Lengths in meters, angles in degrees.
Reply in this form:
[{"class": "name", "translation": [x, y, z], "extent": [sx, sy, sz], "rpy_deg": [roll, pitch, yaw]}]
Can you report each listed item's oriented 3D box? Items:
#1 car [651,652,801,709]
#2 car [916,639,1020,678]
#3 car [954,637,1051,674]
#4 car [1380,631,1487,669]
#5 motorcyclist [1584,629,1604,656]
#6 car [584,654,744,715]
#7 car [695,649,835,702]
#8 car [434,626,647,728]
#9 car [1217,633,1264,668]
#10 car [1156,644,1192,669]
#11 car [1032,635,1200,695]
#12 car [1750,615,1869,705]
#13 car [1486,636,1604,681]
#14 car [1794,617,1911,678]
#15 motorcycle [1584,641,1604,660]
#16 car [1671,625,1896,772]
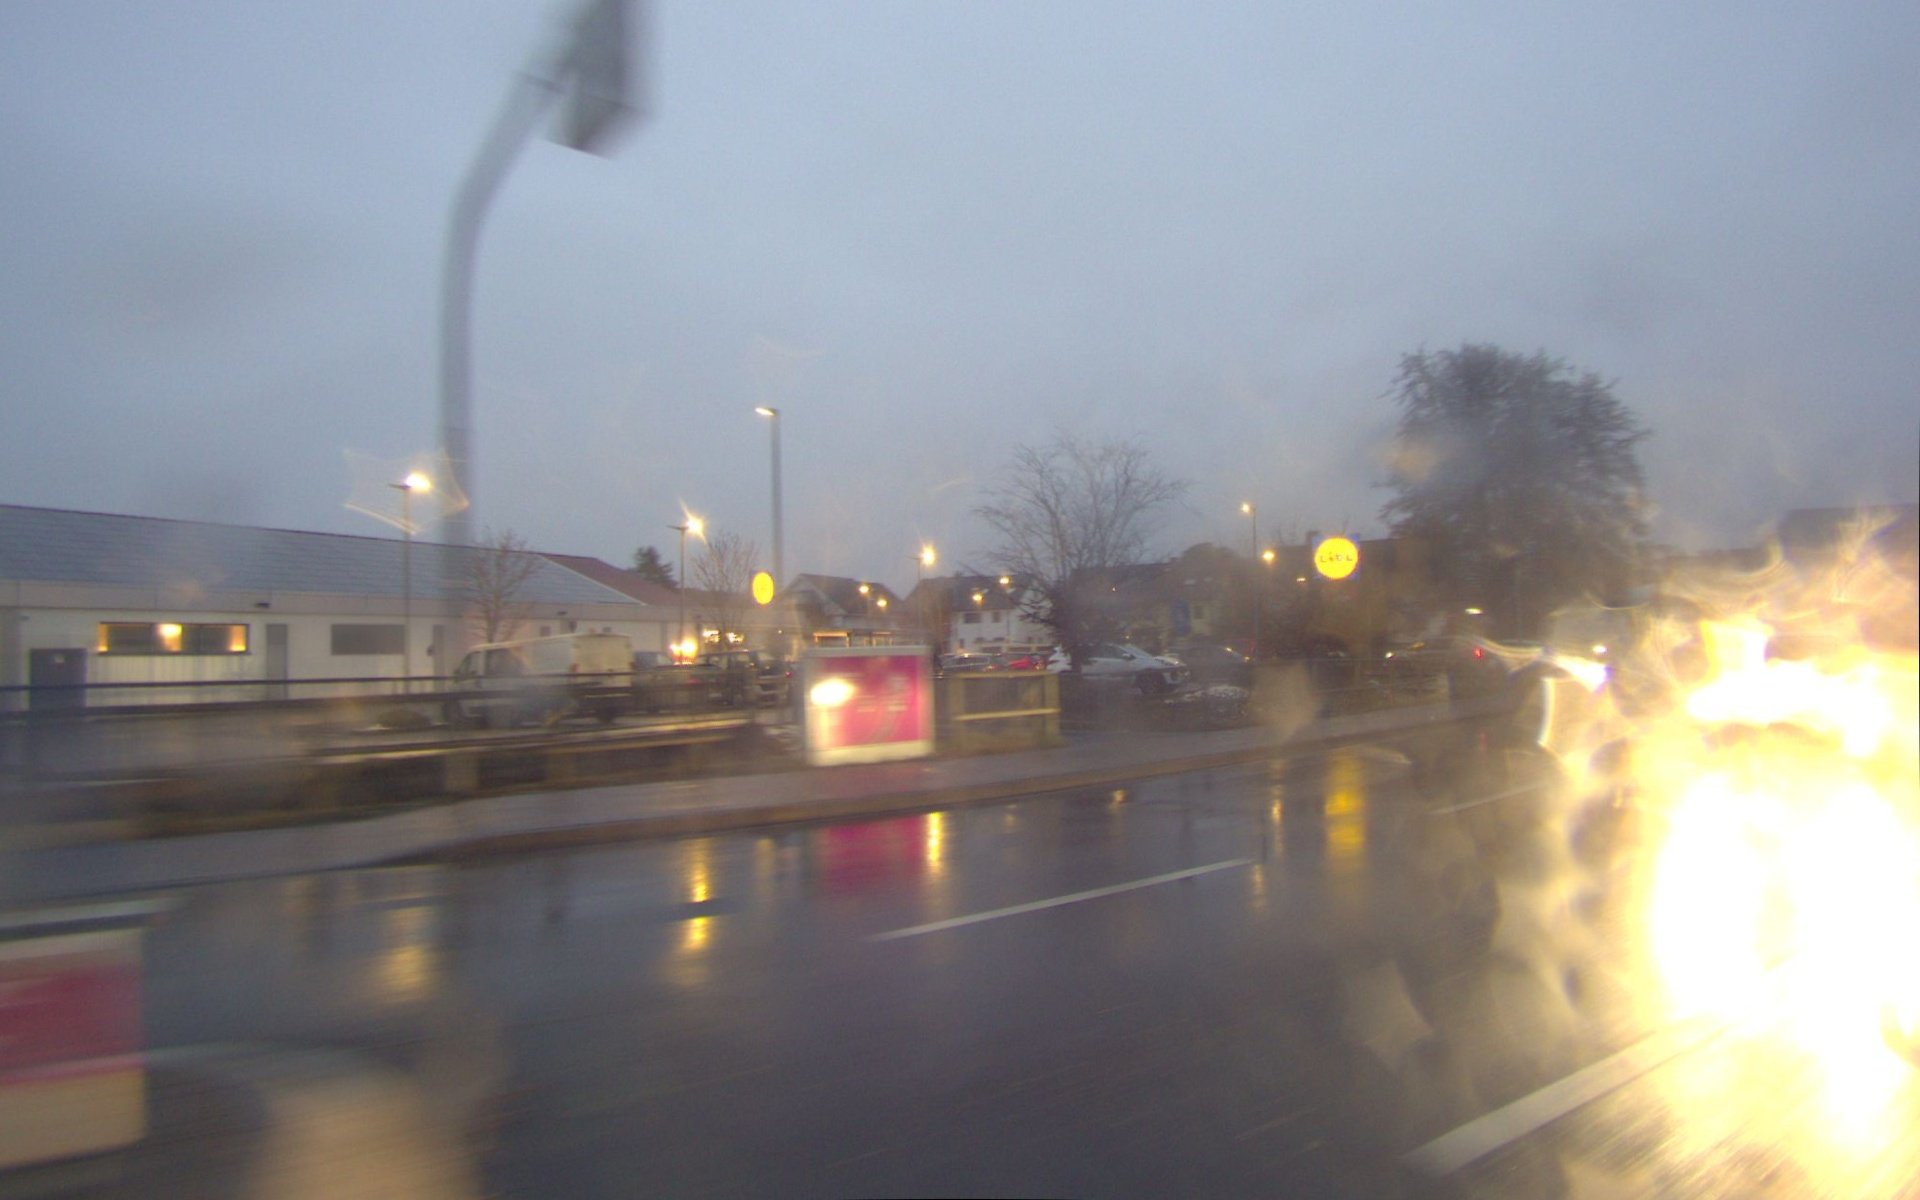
[{"class": "car", "translation": [-7.511, 2.580, 32.224], "extent": [4.364, 1.583, 2.053], "rpy_deg": [-4, -3, 27]}, {"class": "car", "translation": [0.378, 2.742, 47.283], "extent": [4.364, 1.583, 2.053], "rpy_deg": [-4, -3, 27]}, {"class": "car", "translation": [2.126, 2.785, 50.169], "extent": [4.364, 1.583, 2.053], "rpy_deg": [-4, -3, 27]}, {"class": "car", "translation": [22.579, 2.407, 47.965], "extent": [4.348, 1.693, 1.963], "rpy_deg": [-3, -2, 34]}, {"class": "motorcyclist", "translation": [34.998, 2.348, 55.443], "extent": [0.853, 1.504, 0.907], "rpy_deg": [-2, -3, 31]}, {"class": "car", "translation": [-8.909, 2.553, 30.248], "extent": [4.364, 1.583, 2.053], "rpy_deg": [-4, -3, 27]}, {"class": "car", "translation": [-6.720, 2.601, 34.655], "extent": [4.364, 1.583, 2.053], "rpy_deg": [-4, -3, 27]}, {"class": "car", "translation": [-10.793, 1.984, 25.776], "extent": [5.108, 2.312, 2.216], "rpy_deg": [-4, -3, 27]}, {"class": "car", "translation": [20.514, 3.637, 73.326], "extent": [2.246, 2.309, 5.261], "rpy_deg": [-1, -1, 28]}, {"class": "car", "translation": [16.253, 4.271, 76.209], "extent": [1.668, 1.662, 3.705], "rpy_deg": [1, 0, 28]}, {"class": "car", "translation": [4.797, 2.016, 30.952], "extent": [4.697, 1.734, 2.031], "rpy_deg": [-3, -3, 26]}, {"class": "car", "translation": [18.291, 1.256, 21.758], "extent": [1.750, 1.746, 4.402], "rpy_deg": [-3, -3, 39]}, {"class": "car", "translation": [24.295, 2.396, 41.841], "extent": [4.165, 1.721, 1.896], "rpy_deg": [0, -2, 31]}, {"class": "car", "translation": [31.382, 1.682, 35.501], "extent": [2.278, 1.963, 5.005], "rpy_deg": [-4, -4, 33]}, {"class": "motorcycle", "translation": [35.052, 2.793, 55.521], "extent": [0.853, 1.037, 2.105], "rpy_deg": [-2, -3, 31]}, {"class": "car", "translation": [10.152, 1.095, 12.278], "extent": [3.973, 1.505, 1.647], "rpy_deg": [2, -4, -44]}]
